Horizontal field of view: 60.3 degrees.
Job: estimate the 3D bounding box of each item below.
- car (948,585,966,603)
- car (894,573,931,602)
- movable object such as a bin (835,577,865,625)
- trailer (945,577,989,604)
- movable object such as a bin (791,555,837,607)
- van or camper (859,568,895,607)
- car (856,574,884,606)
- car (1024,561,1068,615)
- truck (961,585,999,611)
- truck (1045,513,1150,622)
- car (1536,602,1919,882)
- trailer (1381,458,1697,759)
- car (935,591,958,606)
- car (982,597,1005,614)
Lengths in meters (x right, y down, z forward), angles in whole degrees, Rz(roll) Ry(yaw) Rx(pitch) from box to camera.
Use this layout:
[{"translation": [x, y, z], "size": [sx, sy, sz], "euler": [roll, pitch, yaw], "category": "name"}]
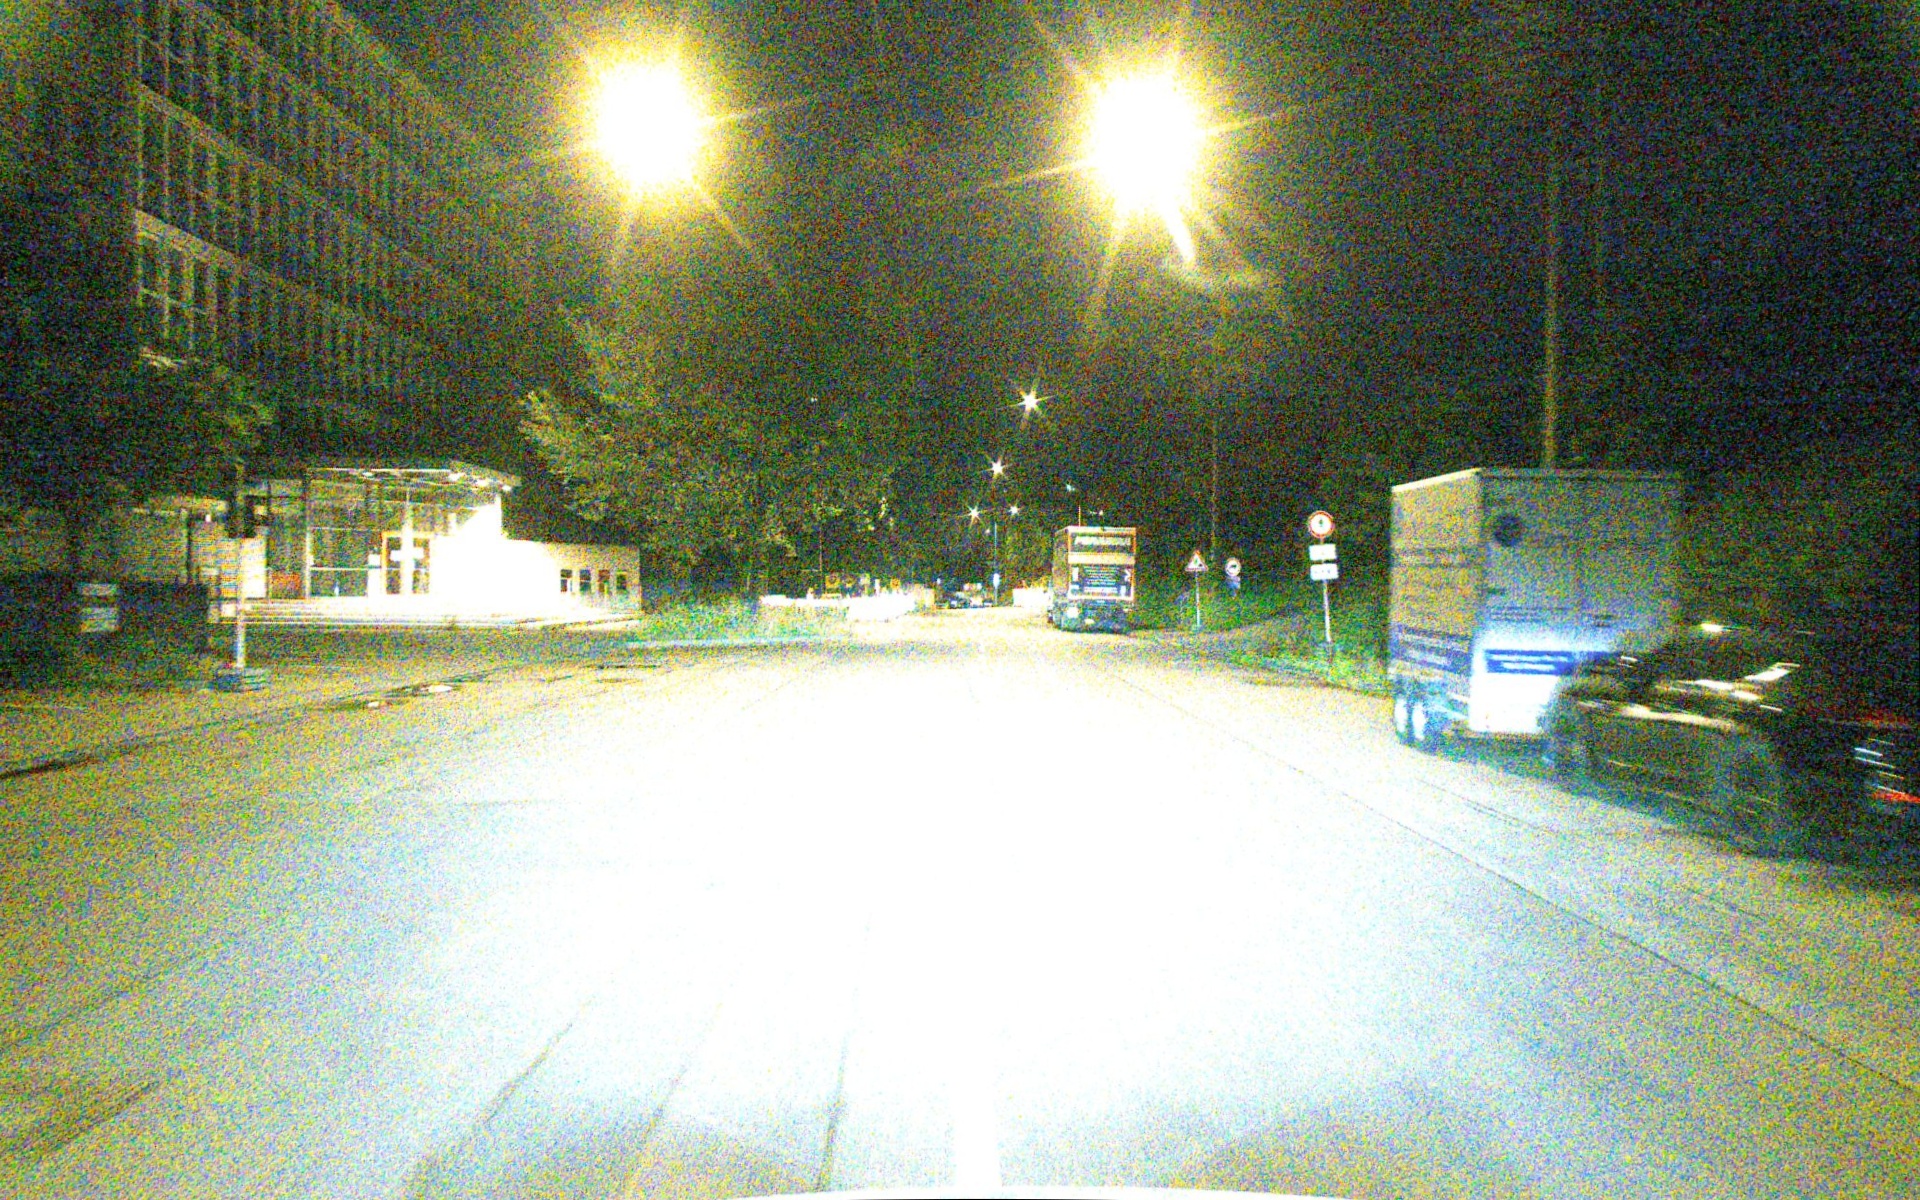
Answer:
[{"translation": [-0.254, -0.564, 157.757], "size": [1.685, 1.690, 4.000], "euler": [1, -1, 0], "category": "car"}, {"translation": [-5.557, -1.484, 194.423], "size": [2.465, 3.226, 7.144], "euler": [-2, 0, 13], "category": "car"}, {"translation": [-6.791, 0.022, 101.929], "size": [1.541, 2.781, 3.695], "euler": [-3, 1, -7], "category": "movable object such as a bin"}, {"translation": [0.577, -0.790, 142.710], "size": [1.541, 2.198, 5.174], "euler": [-1, 0, -27], "category": "trailer"}, {"translation": [-7.267, -0.931, 82.188], "size": [1.526, 2.510, 2.822], "euler": [-1, 0, -21], "category": "movable object such as a bin"}, {"translation": [-6.956, -1.011, 139.704], "size": [2.467, 3.148, 7.446], "euler": [-2, 0, 1], "category": "van or camper"}, {"translation": [-8.908, -0.988, 164.555], "size": [2.468, 2.978, 7.199], "euler": [-2, 0, -2], "category": "car"}, {"translation": [4.249, -0.618, 82.896], "size": [2.065, 2.560, 6.374], "euler": [1, 1, 2], "category": "car"}, {"translation": [2.767, -0.331, 224.804], "size": [1.953, 3.463, 8.977], "euler": [1, 1, 23], "category": "truck"}, {"translation": [5.280, -1.217, 65.320], "size": [3.256, 3.936, 9.327], "euler": [1, 0, -1], "category": "truck"}, {"translation": [5.666, 0.781, 11.278], "size": [1.692, 1.411, 4.675], "euler": [1, 1, -2], "category": "car"}, {"translation": [5.763, 0.039, 17.023], "size": [1.952, 2.697, 4.002], "euler": [1, 1, 2], "category": "trailer"}, {"translation": [-1.687, -0.190, 210.137], "size": [1.951, 1.729, 4.209], "euler": [1, -1, 14], "category": "car"}, {"translation": [3.816, 0.654, 186.149], "size": [1.684, 1.853, 4.003], "euler": [1, -1, 15], "category": "car"}]
